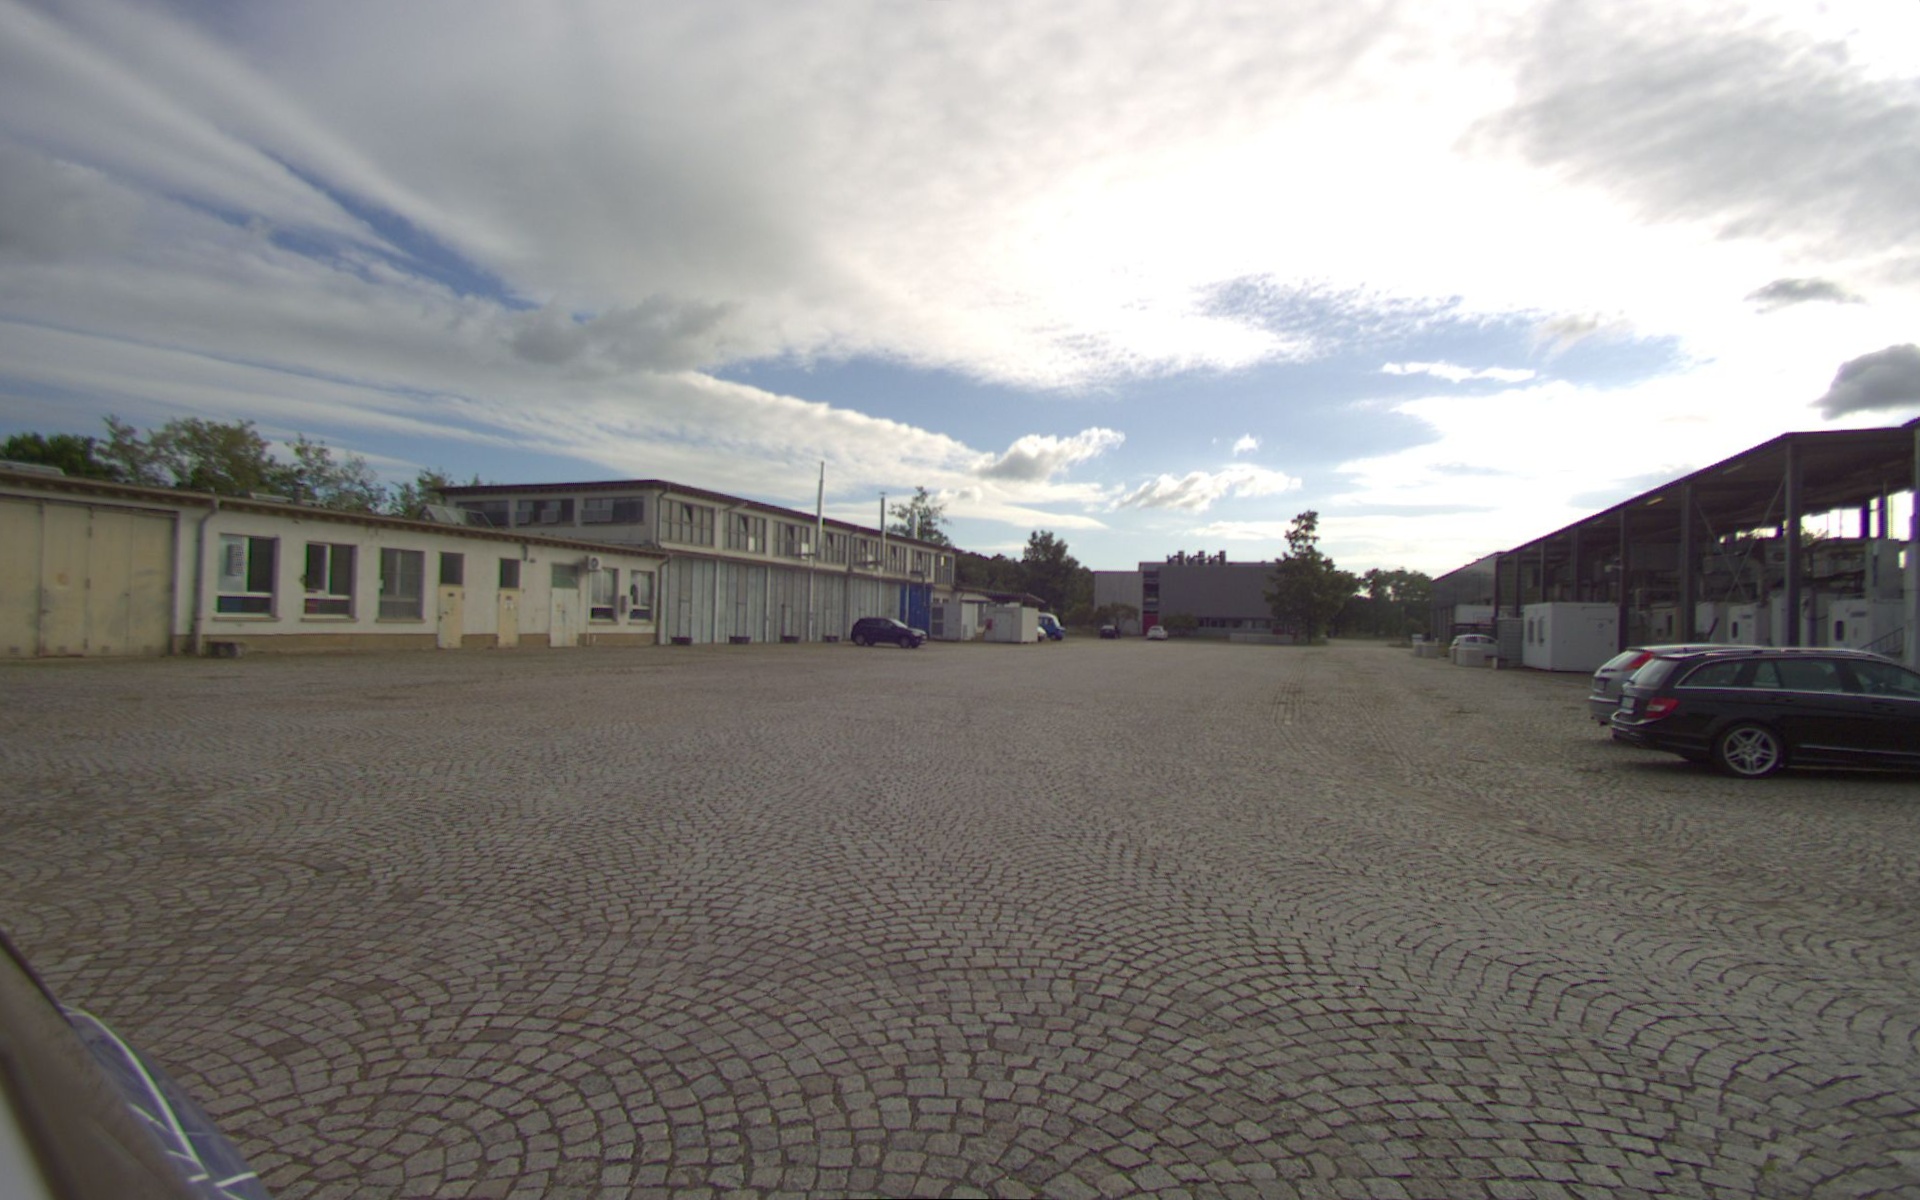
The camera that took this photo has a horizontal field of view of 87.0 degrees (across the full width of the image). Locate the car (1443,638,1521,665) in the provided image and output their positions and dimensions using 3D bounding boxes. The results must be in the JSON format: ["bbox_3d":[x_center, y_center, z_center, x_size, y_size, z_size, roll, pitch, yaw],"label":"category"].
[{"bbox_3d":[31.978,3.143,62.163,3.968,1.503,1.987,1,-2,19],"label":"car"}]

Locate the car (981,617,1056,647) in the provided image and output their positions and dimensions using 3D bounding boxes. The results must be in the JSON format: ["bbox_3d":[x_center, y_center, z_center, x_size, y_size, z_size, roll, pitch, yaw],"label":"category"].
[{"bbox_3d":[4.743,2.611,82.201,5.587,2.236,2.436,1,-2,20],"label":"car"}]

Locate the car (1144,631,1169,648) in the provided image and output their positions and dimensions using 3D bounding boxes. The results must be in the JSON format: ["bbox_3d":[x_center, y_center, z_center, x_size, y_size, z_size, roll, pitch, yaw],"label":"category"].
[{"bbox_3d":[21.420,4.284,110.037,2.137,1.824,3.974,1,-2,19],"label":"car"}]

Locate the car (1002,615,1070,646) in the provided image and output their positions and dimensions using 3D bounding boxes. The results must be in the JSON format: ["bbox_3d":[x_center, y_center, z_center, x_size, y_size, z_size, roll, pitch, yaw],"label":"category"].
[{"bbox_3d":[6.802,2.714,90.570,5.587,2.635,2.436,1,-2,20],"label":"car"}]

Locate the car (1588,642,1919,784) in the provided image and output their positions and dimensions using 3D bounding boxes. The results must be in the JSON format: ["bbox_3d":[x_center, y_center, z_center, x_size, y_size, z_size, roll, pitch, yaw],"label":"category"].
[{"bbox_3d":[10.094,1.226,11.635,4.496,1.464,2.029,-1,-2,20],"label":"car"}]

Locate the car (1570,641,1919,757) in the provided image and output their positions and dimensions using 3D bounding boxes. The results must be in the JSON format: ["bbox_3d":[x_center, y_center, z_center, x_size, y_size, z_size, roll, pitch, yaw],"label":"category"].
[{"bbox_3d":[11.321,1.342,14.532,4.014,1.487,1.901,-1,-2,18],"label":"car"}]

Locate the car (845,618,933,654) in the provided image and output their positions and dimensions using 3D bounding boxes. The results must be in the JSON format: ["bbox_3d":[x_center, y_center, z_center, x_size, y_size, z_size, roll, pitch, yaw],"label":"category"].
[{"bbox_3d":[-3.895,1.982,55.998,4.402,1.770,1.987,1,-5,20],"label":"car"}]

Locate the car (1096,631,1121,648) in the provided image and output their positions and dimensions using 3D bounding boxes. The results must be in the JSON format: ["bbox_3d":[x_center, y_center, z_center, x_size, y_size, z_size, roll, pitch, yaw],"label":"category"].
[{"bbox_3d":[16.349,4.329,111.434,1.984,1.824,3.974,1,-2,19],"label":"car"}]
